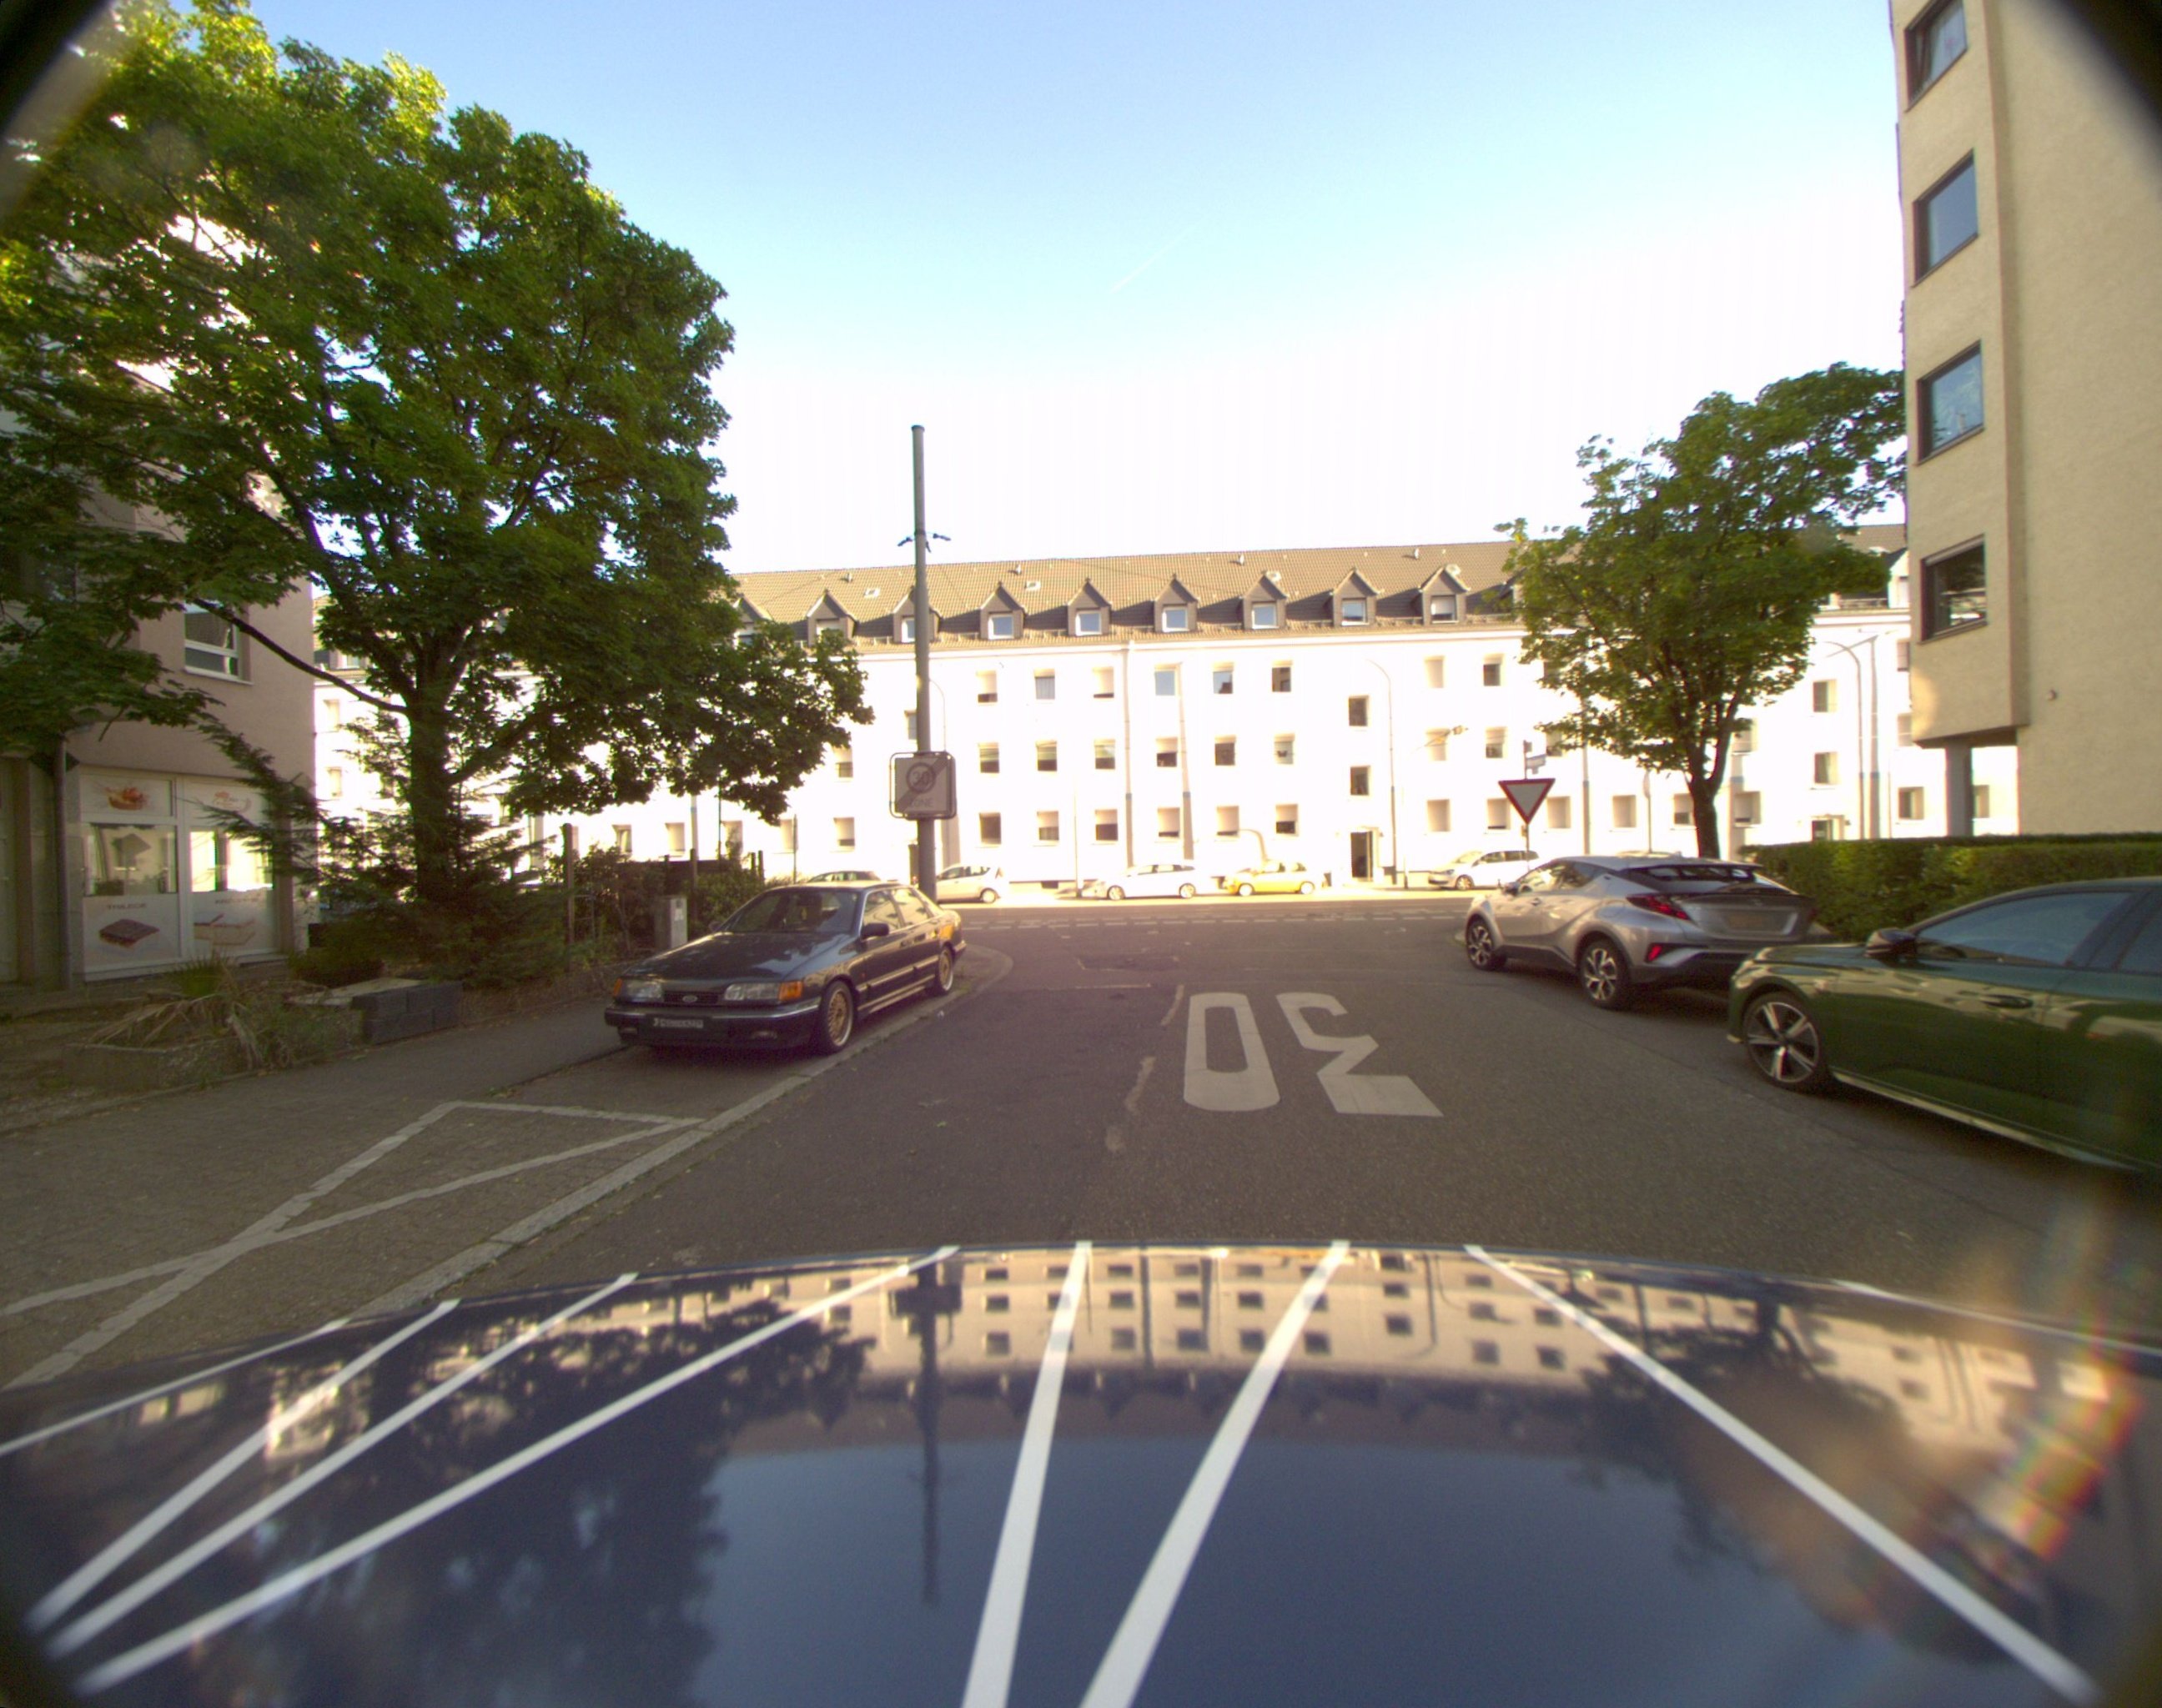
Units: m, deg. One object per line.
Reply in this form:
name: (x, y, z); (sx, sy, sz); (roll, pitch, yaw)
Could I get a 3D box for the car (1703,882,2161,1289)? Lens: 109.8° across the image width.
car: (5.044, 0.942, 3.228); (1.769, 1.444, 4.210); (2, 0, 8)

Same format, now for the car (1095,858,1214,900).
car: (2.852, 0.963, 30.068); (4.490, 1.498, 1.945); (-2, 0, 3)

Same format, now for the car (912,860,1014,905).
car: (-4.655, 1.116, 30.287); (3.704, 1.597, 1.649); (-2, 0, 1)

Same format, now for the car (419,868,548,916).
car: (-24.550, 1.547, 31.296); (3.996, 1.770, 1.695); (-2, 0, 3)

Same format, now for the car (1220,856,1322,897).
car: (7.426, 0.850, 29.937); (3.610, 1.440, 1.554); (-2, 1, 1)

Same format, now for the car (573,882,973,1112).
car: (-2.588, 1.104, 7.740); (1.664, 1.399, 4.510); (2, 0, 9)

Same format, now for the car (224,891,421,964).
car: (-16.347, 1.559, 16.460); (2.879, 1.348, 1.262); (-2, 1, -2)

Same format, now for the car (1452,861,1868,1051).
car: (5.913, 0.884, 8.513); (1.722, 1.546, 4.075); (1, 0, 4)

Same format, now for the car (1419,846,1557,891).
car: (15.829, 0.549, 29.728); (4.282, 1.548, 2.000); (-2, 0, 0)

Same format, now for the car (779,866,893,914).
car: (-9.797, 1.413, 30.559); (3.875, 1.498, 1.649); (-5, 0, 1)

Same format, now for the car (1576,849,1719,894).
car: (21.732, 0.659, 29.268); (4.071, 1.675, 1.923); (0, 0, 0)
